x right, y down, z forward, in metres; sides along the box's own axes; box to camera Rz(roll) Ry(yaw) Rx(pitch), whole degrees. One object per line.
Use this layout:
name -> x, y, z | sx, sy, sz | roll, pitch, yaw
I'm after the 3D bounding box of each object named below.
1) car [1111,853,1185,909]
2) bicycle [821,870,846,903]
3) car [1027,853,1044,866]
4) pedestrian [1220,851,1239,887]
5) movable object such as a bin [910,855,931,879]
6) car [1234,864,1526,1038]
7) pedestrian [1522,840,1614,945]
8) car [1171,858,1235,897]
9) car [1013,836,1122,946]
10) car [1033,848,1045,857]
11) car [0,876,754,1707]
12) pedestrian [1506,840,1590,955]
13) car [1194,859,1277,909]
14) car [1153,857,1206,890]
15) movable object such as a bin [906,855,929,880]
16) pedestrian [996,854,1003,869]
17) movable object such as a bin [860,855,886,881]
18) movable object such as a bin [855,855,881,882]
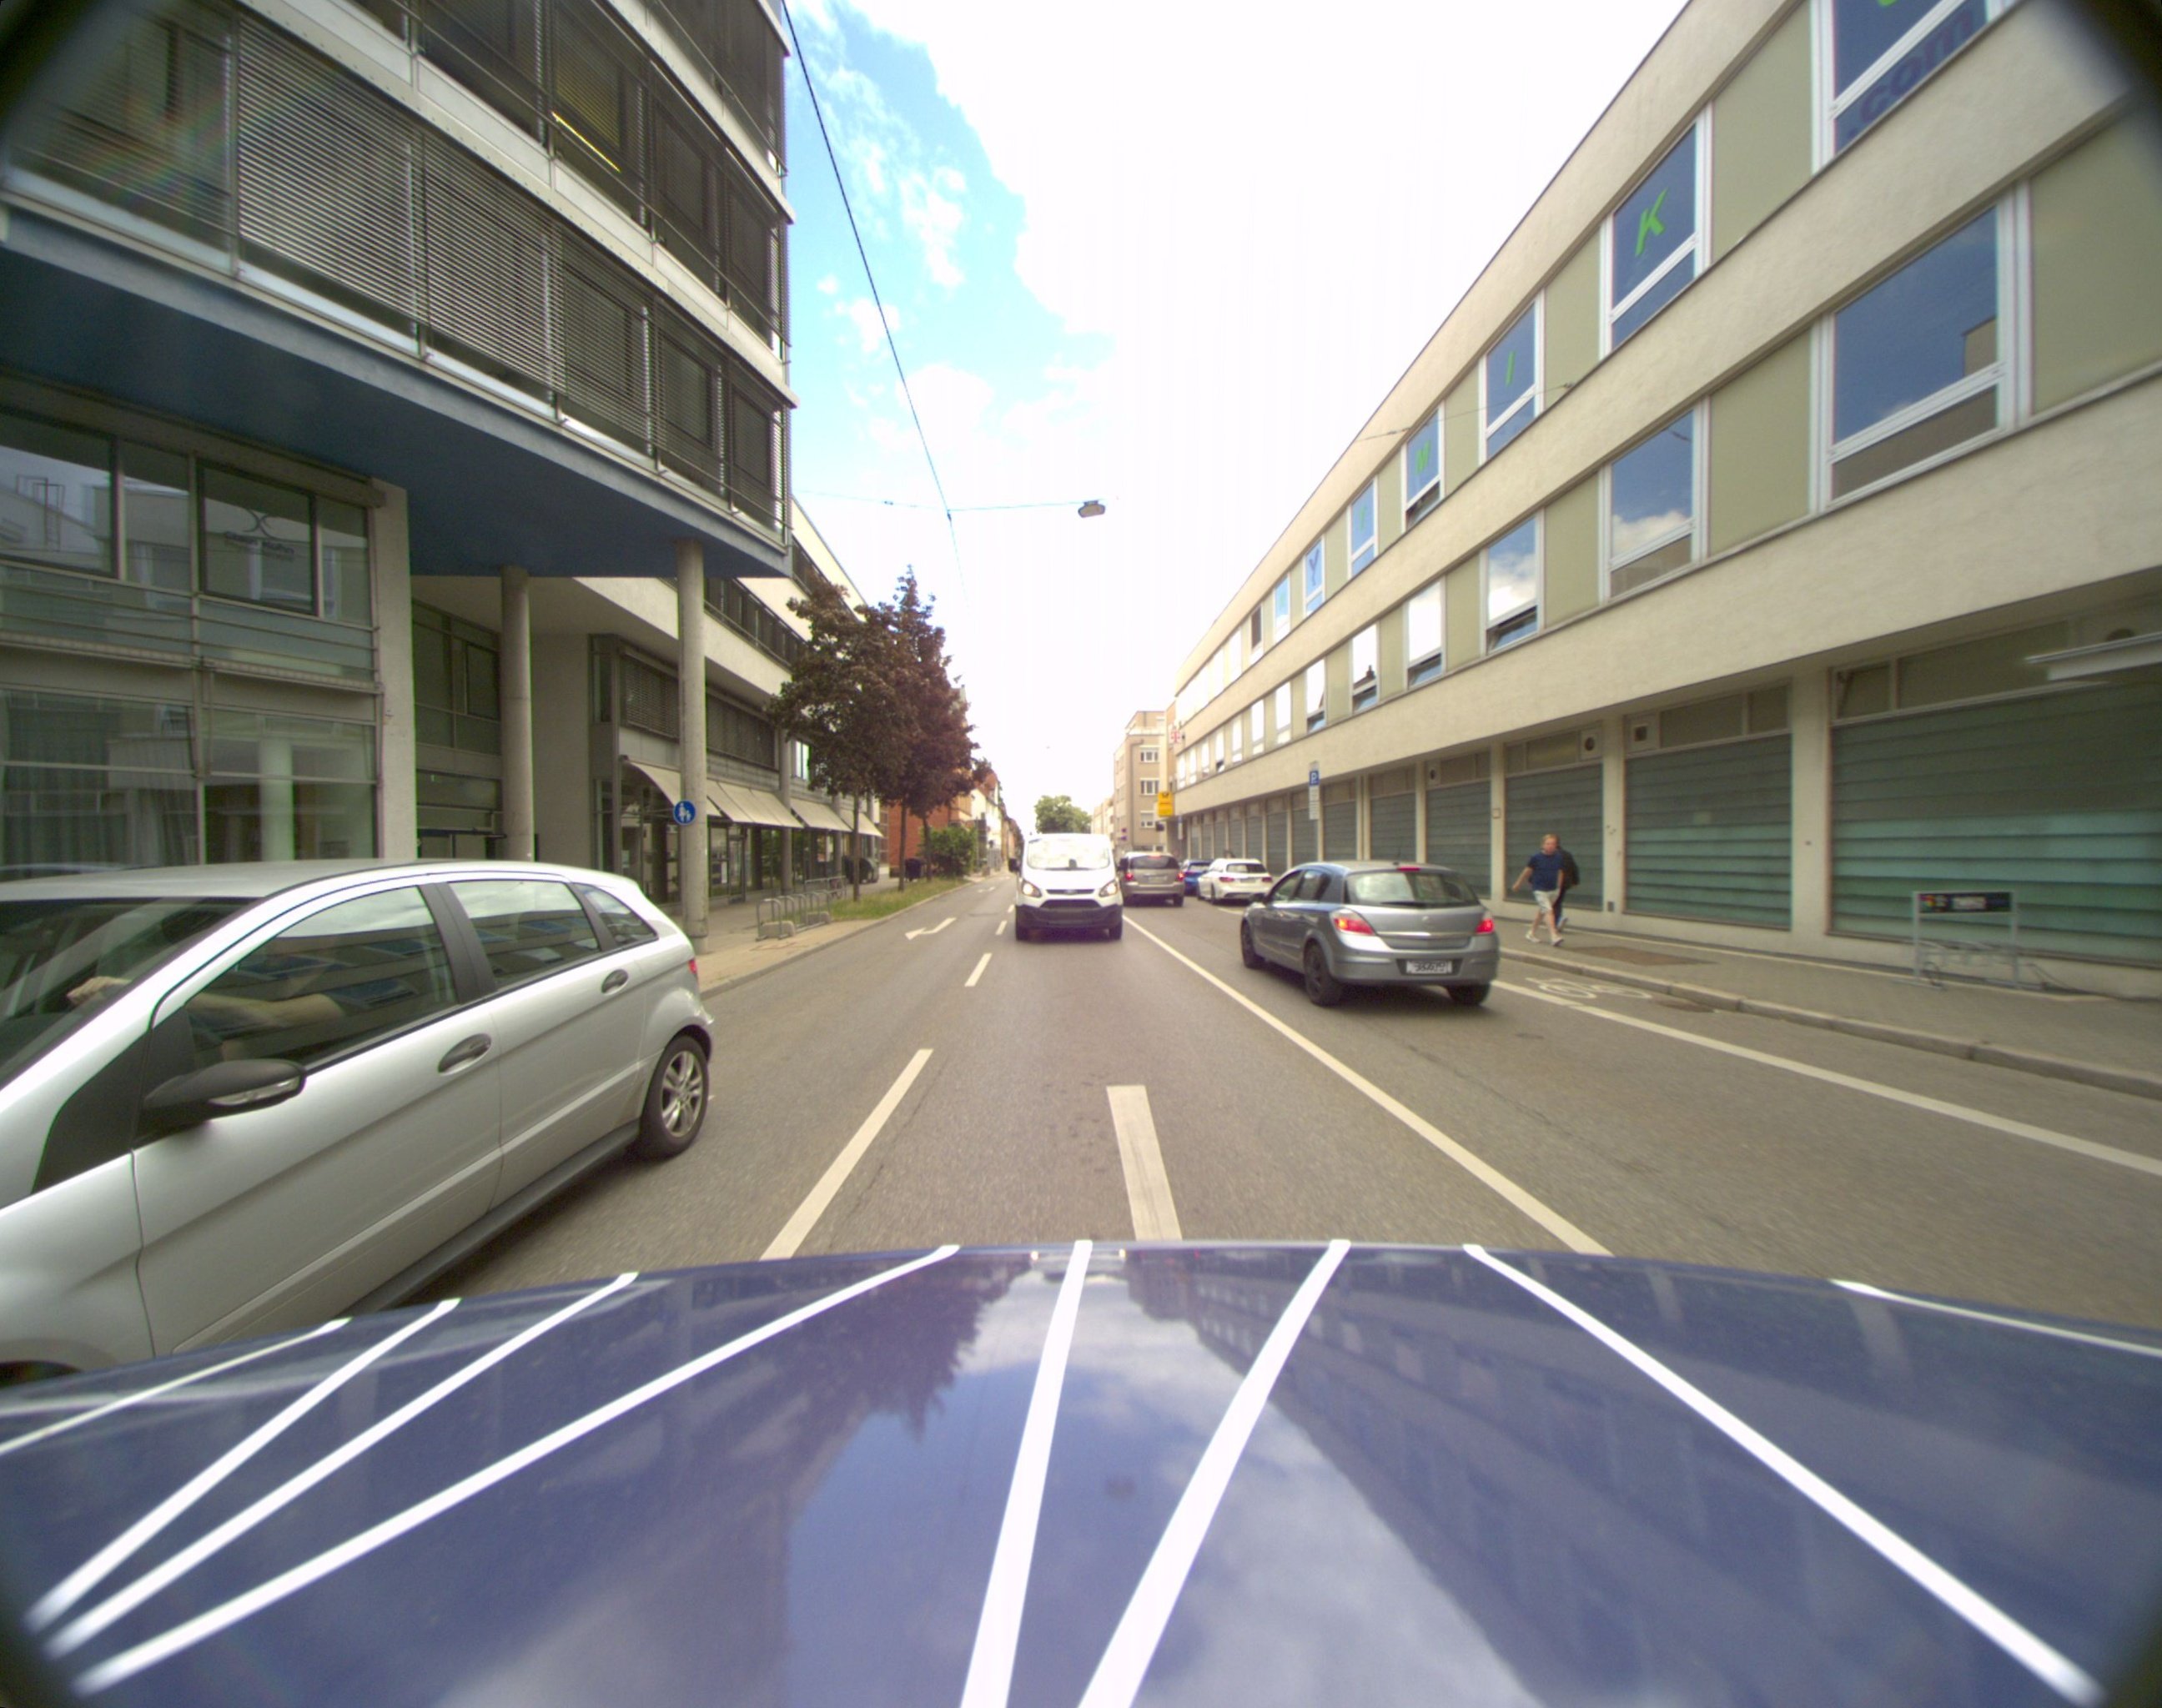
car -> 2.054, 0.779, 24.528 | 1.781, 1.622, 4.766 | 0, 0, -2
bicycle -> -8.987, 1.161, 27.620 | 0.362, 1.080, 2.026 | -2, 1, -5
car -> -5.433, 0.679, 91.434 | 1.965, 1.517, 4.571 | 0, 0, -2
pedestrian -> 7.110, 0.714, 36.424 | 0.592, 1.708, 0.648 | -1, 1, -35
movable object such as a bin -> -9.747, 0.788, 46.186 | 1.101, 1.457, 1.332 | 1, 1, -5
car -> 3.038, 0.882, 8.672 | 1.662, 1.457, 3.919 | 0, 0, -2
pedestrian -> 8.349, 0.626, 13.072 | 0.864, 1.708, 1.031 | -2, 1, -5
car -> 4.805, 0.883, 30.461 | 1.819, 1.417, 4.264 | 1, 0, 0
car -> -0.347, 0.662, 16.356 | 1.965, 1.986, 5.086 | 0, 0, -2
car -> -7.741, -0.270, 139.510 | 1.965, 1.517, 4.569 | 0, 0, -5
car -> -3.091, 0.970, 2.505 | 1.999, 1.537, 4.570 | -3, 1, -1
pedestrian -> 7.208, 0.642, 11.767 | 0.591, 1.708, 1.055 | 0, 1, -5
car -> 4.913, 0.904, 24.748 | 1.674, 1.425, 4.552 | 1, 0, -1
car -> 4.627, 0.886, 36.248 | 1.721, 1.417, 3.868 | 1, 0, -5
movable object such as a bin -> -9.617, 0.797, 44.821 | 1.130, 1.457, 1.412 | 1, 1, -5
pedestrian -> -9.501, 0.838, 88.675 | 0.690, 1.721, 0.649 | 0, 1, -5
movable object such as a bin -> -11.791, 0.780, 43.114 | 1.125, 1.457, 1.332 | 1, 1, -5
movable object such as a bin -> -11.678, 0.794, 41.759 | 1.101, 1.457, 1.332 | 1, 1, -5
